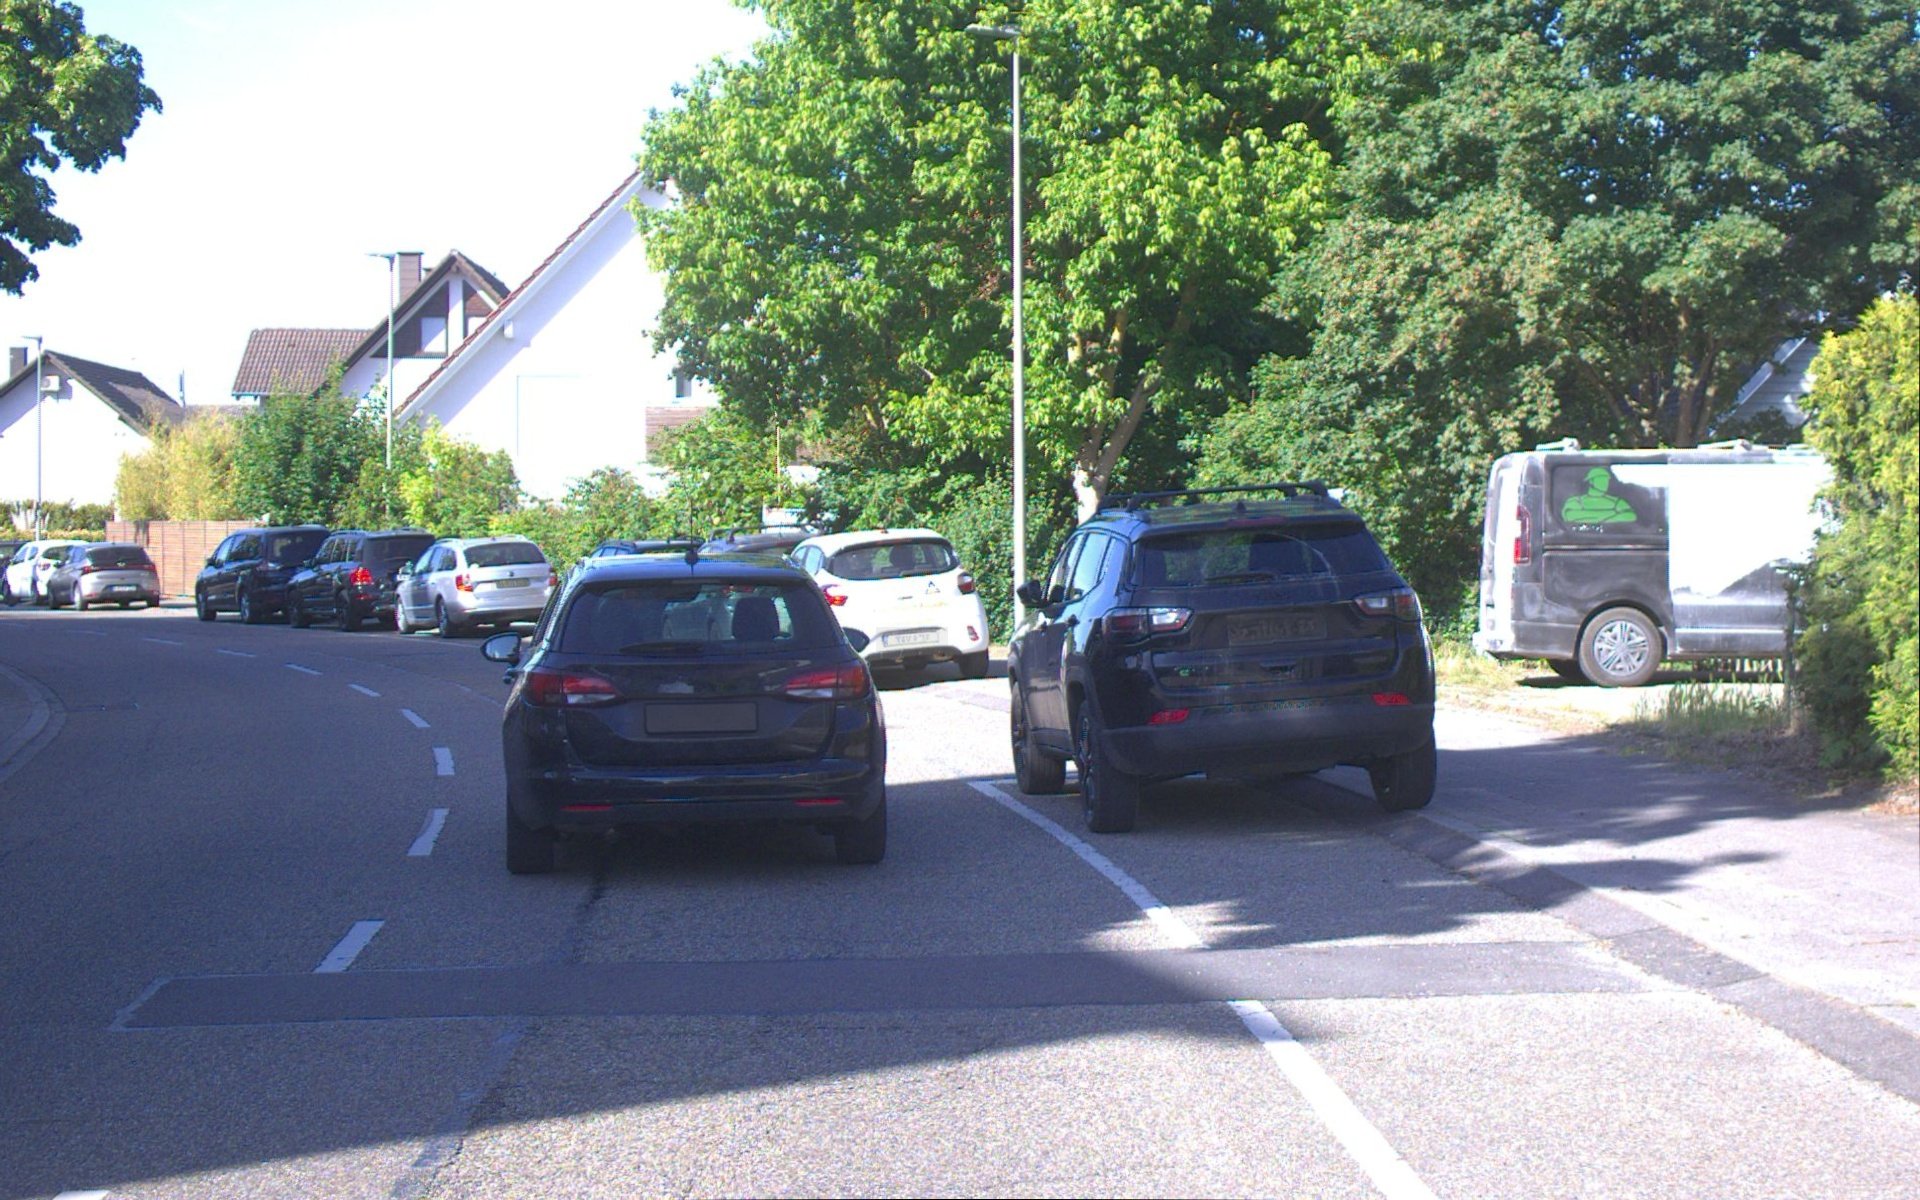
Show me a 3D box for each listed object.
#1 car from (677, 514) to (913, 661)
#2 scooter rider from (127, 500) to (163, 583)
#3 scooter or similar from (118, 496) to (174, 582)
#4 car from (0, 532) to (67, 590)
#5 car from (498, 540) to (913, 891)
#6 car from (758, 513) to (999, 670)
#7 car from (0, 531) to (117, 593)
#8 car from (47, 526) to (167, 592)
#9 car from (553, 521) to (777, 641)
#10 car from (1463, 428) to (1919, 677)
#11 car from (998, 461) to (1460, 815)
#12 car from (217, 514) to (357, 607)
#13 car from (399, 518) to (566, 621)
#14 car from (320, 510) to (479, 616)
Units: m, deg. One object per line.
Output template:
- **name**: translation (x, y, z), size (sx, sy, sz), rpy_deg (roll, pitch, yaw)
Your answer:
- **car**: translation (-1.961, -0.159, 39.627), size (1.911, 1.595, 4.295), rpy_deg (0, 0, -14)
- **scooter rider**: translation (-20.126, -1.443, 84.916), size (0.685, 2.007, 0.820), rpy_deg (1, -1, -27)
- **scooter or similar**: translation (-20.118, -1.488, 84.906), size (0.685, 2.007, 2.962), rpy_deg (0, -1, -26)
- **car**: translation (-23.674, -0.949, 85.340), size (1.916, 1.402, 4.294), rpy_deg (0, 0, -29)
- **car**: translation (-1.335, 0.489, 17.093), size (1.761, 1.486, 4.292), rpy_deg (2, 0, -6)
- **car**: translation (-0.885, -0.097, 34.493), size (1.760, 1.475, 4.295), rpy_deg (0, 0, -10)
- **car**: translation (-21.414, -0.887, 81.095), size (1.916, 1.402, 4.294), rpy_deg (0, 0, -29)
- **car**: translation (-18.726, -0.892, 75.335), size (1.916, 1.402, 4.295), rpy_deg (0, 0, -23)
- **car**: translation (-3.885, -0.252, 44.598), size (2.005, 1.470, 4.295), rpy_deg (0, 0, -18)
- **car**: translation (6.692, -0.386, 28.495), size (4.680, 1.977, 2.143), rpy_deg (0, 0, -2)
- **car**: translation (1.343, 0.168, 18.896), size (1.777, 1.718, 4.295), rpy_deg (0, 0, -6)
- **car**: translation (-12.450, -0.723, 63.428), size (1.902, 1.660, 4.192), rpy_deg (0, 0, -20)
- **car**: translation (-7.419, -0.466, 53.109), size (1.819, 1.529, 4.260), rpy_deg (0, 0, -18)
- **car**: translation (-9.537, -0.618, 58.234), size (2.005, 1.718, 4.295), rpy_deg (0, 0, -18)
